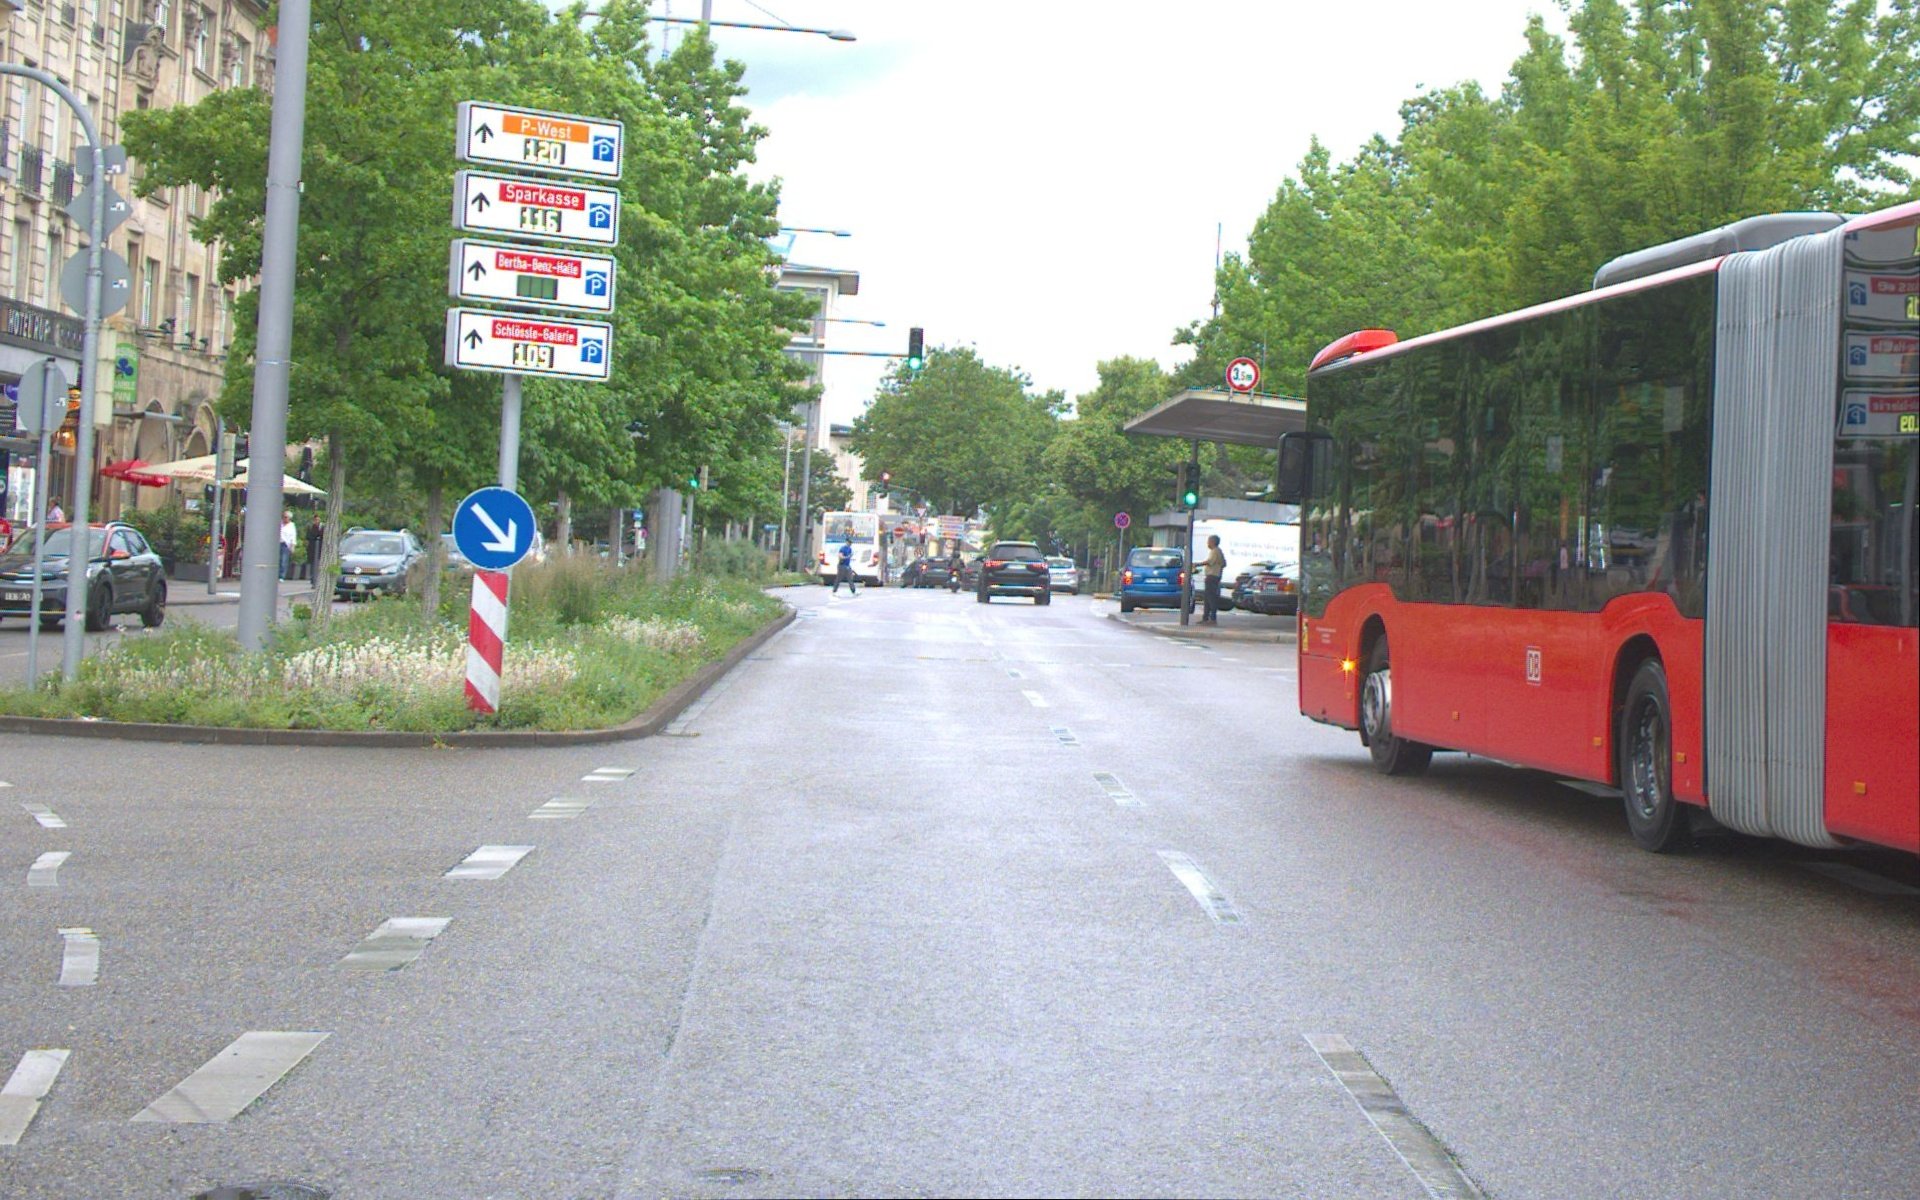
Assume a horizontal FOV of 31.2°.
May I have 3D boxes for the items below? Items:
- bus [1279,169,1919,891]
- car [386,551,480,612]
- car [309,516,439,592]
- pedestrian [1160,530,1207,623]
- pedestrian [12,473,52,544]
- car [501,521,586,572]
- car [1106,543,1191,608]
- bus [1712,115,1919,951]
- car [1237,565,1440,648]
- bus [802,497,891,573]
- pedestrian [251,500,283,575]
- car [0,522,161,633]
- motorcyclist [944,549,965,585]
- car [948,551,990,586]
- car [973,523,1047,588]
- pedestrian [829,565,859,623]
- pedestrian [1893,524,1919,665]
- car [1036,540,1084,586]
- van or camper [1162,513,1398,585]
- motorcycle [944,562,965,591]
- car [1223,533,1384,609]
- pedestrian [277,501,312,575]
[{"bbox_3d":[4.255,-0.377,20.311,2.742,3.163,10.197,1,1,-6],"label":"bus"},{"bbox_3d":[-12.596,-0.457,82.348,1.754,1.364,4.060,1,1,-3],"label":"car"},{"bbox_3d":[-11.735,-0.920,69.068,1.755,1.436,4.060,2,1,2],"label":"car"},{"bbox_3d":[4.332,-0.462,66.637,0.717,1.785,0.666,1,1,-12],"label":"pedestrian"},{"bbox_3d":[-20.034,-1.979,74.203,0.661,1.505,0.519,1,1,-38],"label":"pedestrian"},{"bbox_3d":[-11.758,-1.520,97.187,1.755,1.364,4.060,1,1,2],"label":"car"},{"bbox_3d":[4.655,-0.629,85.406,1.816,1.525,4.000,1,1,-1],"label":"car"},{"bbox_3d":[5.135,-0.207,11.522,2.742,3.163,8.122,1,1,-5],"label":"bus"},{"bbox_3d":[9.058,0.147,82.288,4.335,1.851,2.001,1,1,-20],"label":"car"},{"bbox_3d":[-5.062,-2.927,155.673,3.760,3.198,15.527,1,1,-1],"label":"bus"},{"bbox_3d":[-16.183,-1.449,80.279,0.575,1.726,0.609,2,1,-1],"label":"pedestrian"},{"bbox_3d":[-12.551,-0.343,48.456,1.630,1.471,4.026,2,1,0],"label":"car"},{"bbox_3d":[-0.214,-1.240,129.640,0.764,1.327,0.866,2,1,0],"label":"motorcyclist"},{"bbox_3d":[0.385,-1.353,146.014,1.708,1.443,4.000,1,1,-1],"label":"car"},{"bbox_3d":[1.421,-1.298,99.354,1.993,1.800,4.690,1,1,-1],"label":"car"},{"bbox_3d":[-3.398,-0.179,100.765,0.758,1.695,0.559,2,1,6],"label":"pedestrian"},{"bbox_3d":[14.073,-0.070,49.413,0.811,2.007,0.921,1,1,-24],"label":"pedestrian"},{"bbox_3d":[4.143,-1.539,143.039,1.788,1.853,4.000,1,1,-1],"label":"car"},{"bbox_3d":[9.596,-1.505,102.837,6.753,2.007,2.385,1,0,-26],"label":"van or camper"},{"bbox_3d":[-0.214,-0.883,129.477,0.766,1.073,2.175,2,1,0],"label":"motorcycle"},{"bbox_3d":[9.647,-0.812,96.656,3.986,2.007,2.001,1,1,-20],"label":"car"},{"bbox_3d":[-15.541,-1.447,80.280,0.674,1.696,0.634,2,1,-1],"label":"pedestrian"}]
